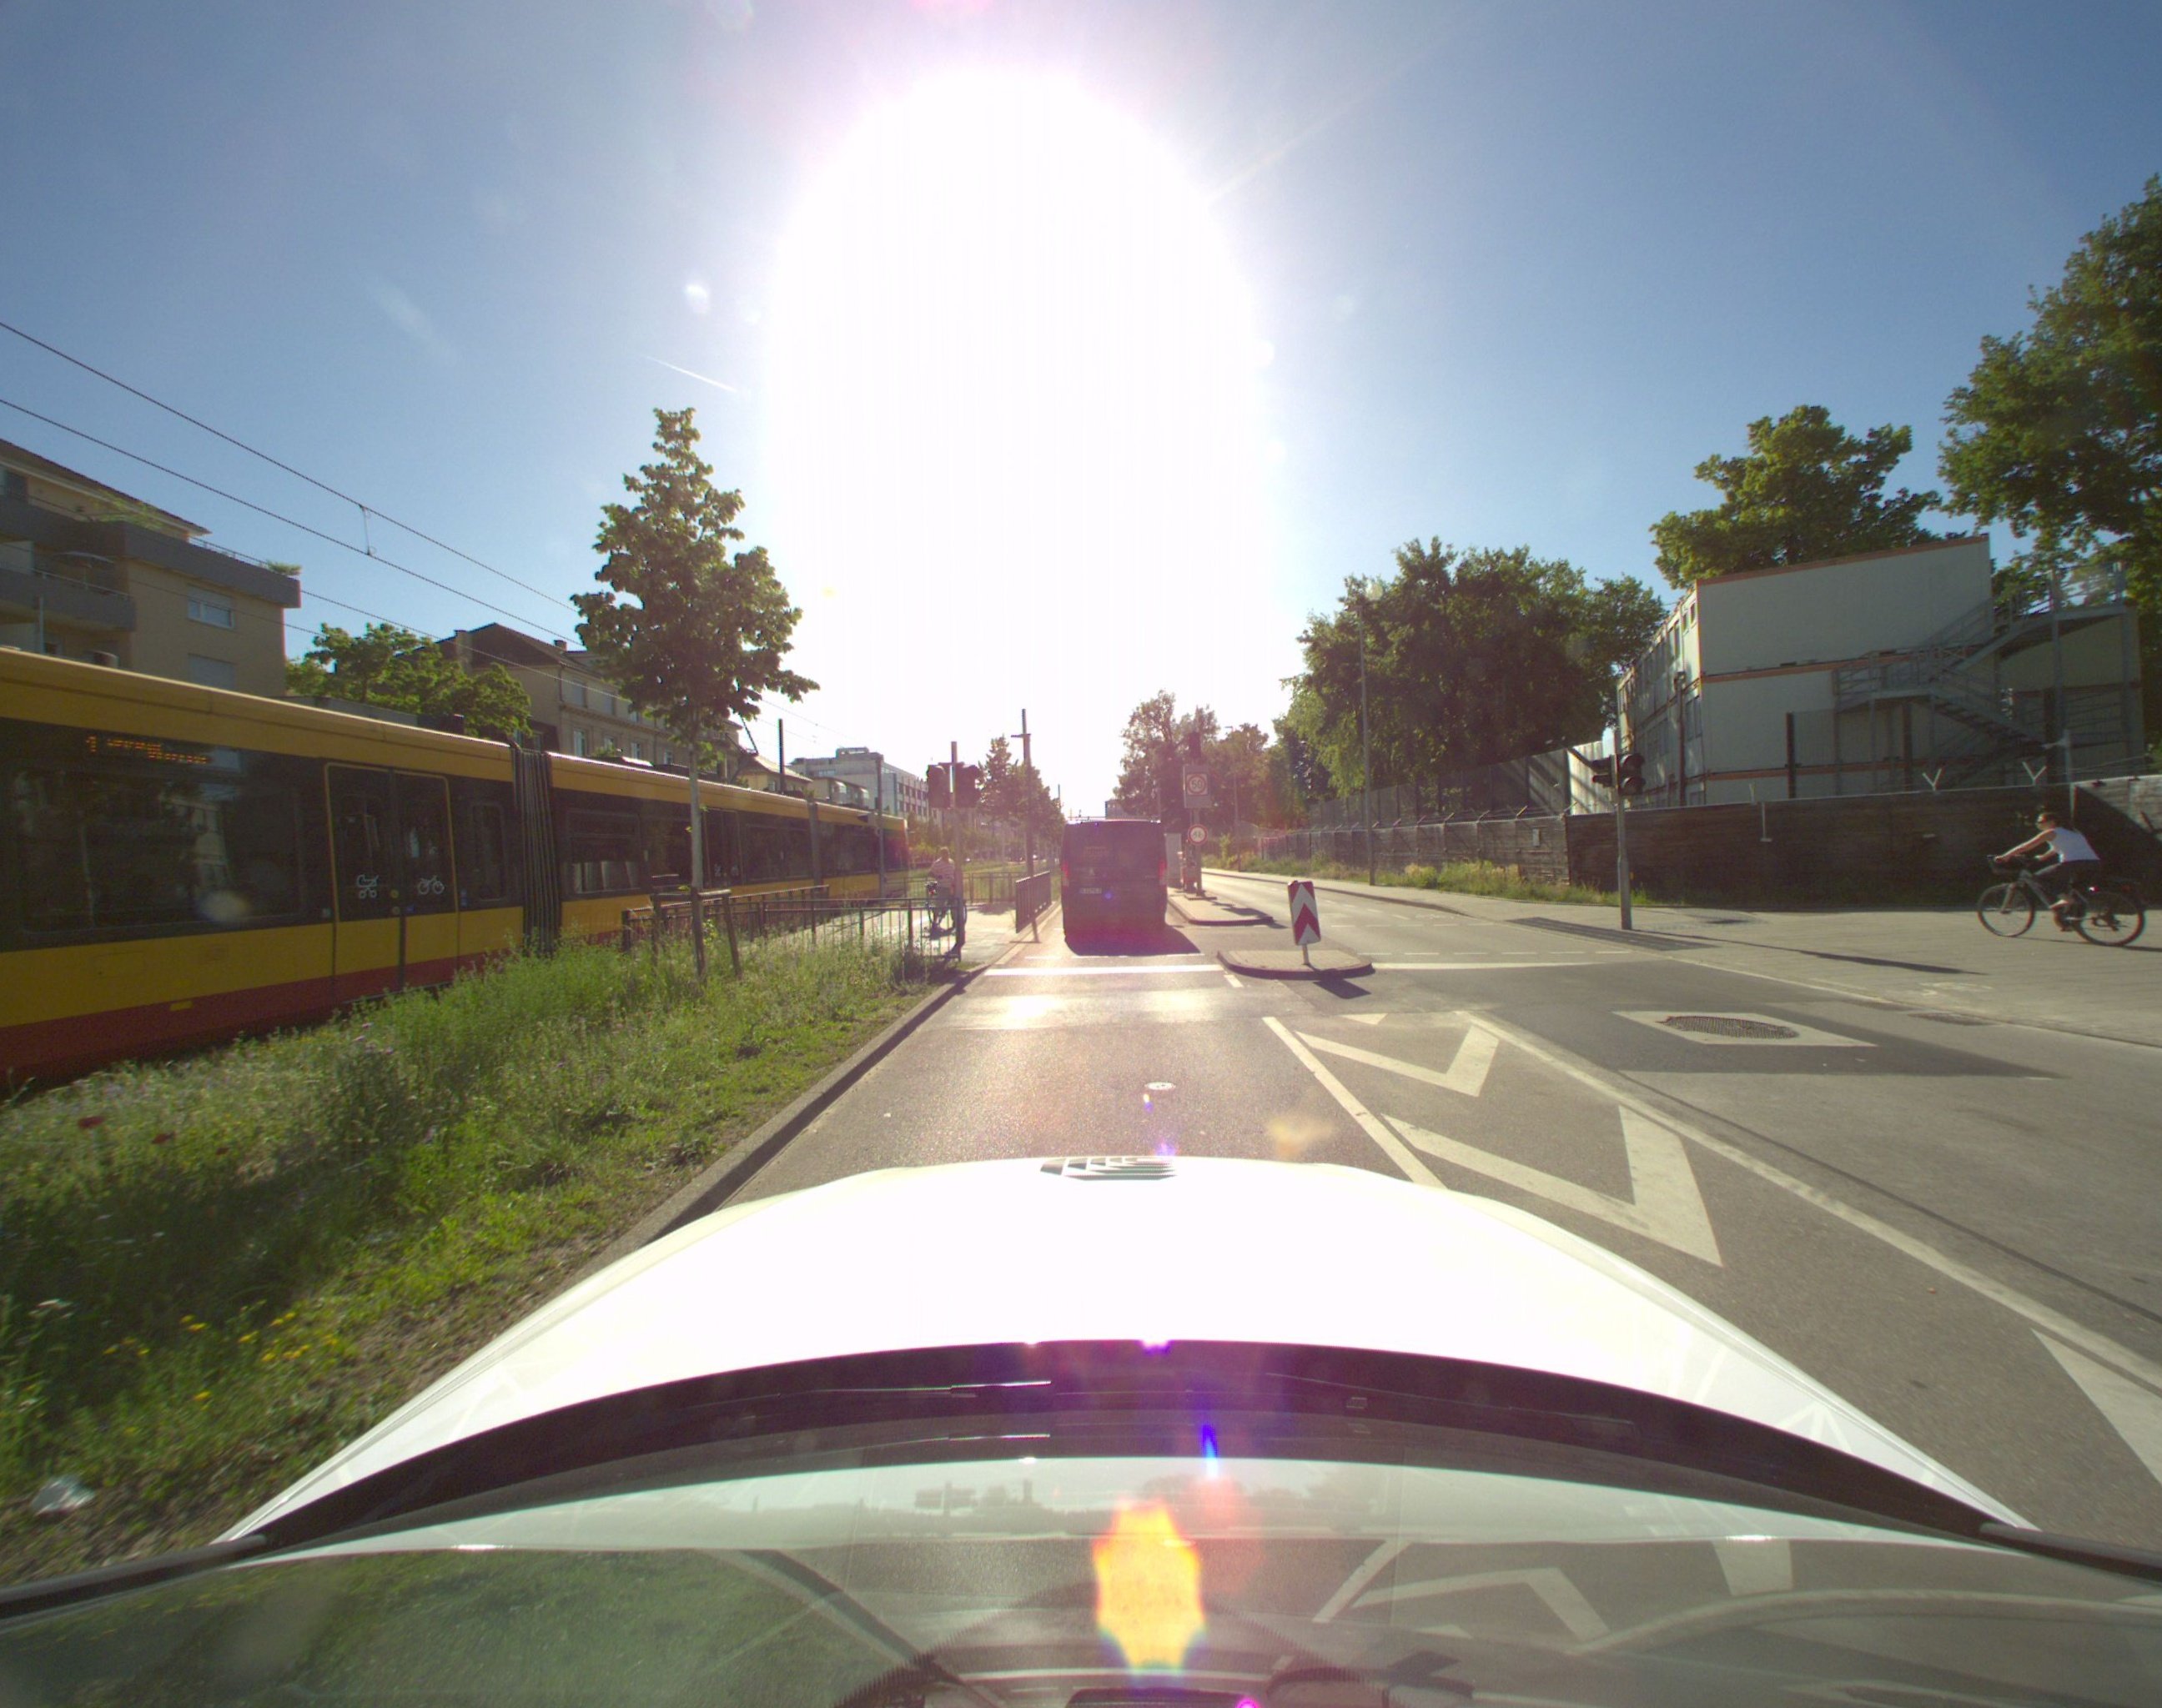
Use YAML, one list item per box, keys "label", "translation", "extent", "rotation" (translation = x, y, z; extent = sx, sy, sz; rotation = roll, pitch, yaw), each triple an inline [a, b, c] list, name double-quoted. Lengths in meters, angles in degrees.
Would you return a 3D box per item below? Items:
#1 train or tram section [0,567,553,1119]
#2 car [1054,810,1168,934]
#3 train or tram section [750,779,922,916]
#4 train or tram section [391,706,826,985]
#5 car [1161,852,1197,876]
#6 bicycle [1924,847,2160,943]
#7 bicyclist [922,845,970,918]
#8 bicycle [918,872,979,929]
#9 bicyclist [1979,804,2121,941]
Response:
- label: "train or tram section"
  translation: [-8.188, -0.062, 3.866]
  extent: [1.987, 3.669, 14.151]
  rotation: [-1, 0, 0]
- label: "car"
  translation: [0.579, 0.339, 17.182]
  extent: [2.075, 2.249, 4.000]
  rotation: [-1, 0, 1]
- label: "train or tram section"
  translation: [-7.795, -0.157, 27.924]
  extent: [1.986, 3.669, 11.687]
  rotation: [-1, 0, 2]
- label: "train or tram section"
  translation: [-8.048, -0.103, 16.471]
  extent: [1.986, 3.669, 11.317]
  rotation: [-1, 0, 1]
- label: "car"
  translation: [6.331, 0.658, 52.927]
  extent: [1.758, 1.462, 3.998]
  rotation: [-1, 0, -1]
- label: "bicycle"
  translation: [12.609, 0.495, 10.817]
  extent: [0.600, 1.112, 2.125]
  rotation: [-4, 0, 1]
- label: "bicyclist"
  translation: [-2.878, 0.568, 17.381]
  extent: [0.830, 1.512, 0.724]
  rotation: [-1, 0, -25]
- label: "bicycle"
  translation: [-2.834, 0.947, 17.250]
  extent: [0.736, 1.091, 2.066]
  rotation: [-1, 0, -25]
- label: "bicyclist"
  translation: [12.598, 0.229, 10.620]
  extent: [0.738, 1.673, 0.852]
  rotation: [-3, 0, 1]
